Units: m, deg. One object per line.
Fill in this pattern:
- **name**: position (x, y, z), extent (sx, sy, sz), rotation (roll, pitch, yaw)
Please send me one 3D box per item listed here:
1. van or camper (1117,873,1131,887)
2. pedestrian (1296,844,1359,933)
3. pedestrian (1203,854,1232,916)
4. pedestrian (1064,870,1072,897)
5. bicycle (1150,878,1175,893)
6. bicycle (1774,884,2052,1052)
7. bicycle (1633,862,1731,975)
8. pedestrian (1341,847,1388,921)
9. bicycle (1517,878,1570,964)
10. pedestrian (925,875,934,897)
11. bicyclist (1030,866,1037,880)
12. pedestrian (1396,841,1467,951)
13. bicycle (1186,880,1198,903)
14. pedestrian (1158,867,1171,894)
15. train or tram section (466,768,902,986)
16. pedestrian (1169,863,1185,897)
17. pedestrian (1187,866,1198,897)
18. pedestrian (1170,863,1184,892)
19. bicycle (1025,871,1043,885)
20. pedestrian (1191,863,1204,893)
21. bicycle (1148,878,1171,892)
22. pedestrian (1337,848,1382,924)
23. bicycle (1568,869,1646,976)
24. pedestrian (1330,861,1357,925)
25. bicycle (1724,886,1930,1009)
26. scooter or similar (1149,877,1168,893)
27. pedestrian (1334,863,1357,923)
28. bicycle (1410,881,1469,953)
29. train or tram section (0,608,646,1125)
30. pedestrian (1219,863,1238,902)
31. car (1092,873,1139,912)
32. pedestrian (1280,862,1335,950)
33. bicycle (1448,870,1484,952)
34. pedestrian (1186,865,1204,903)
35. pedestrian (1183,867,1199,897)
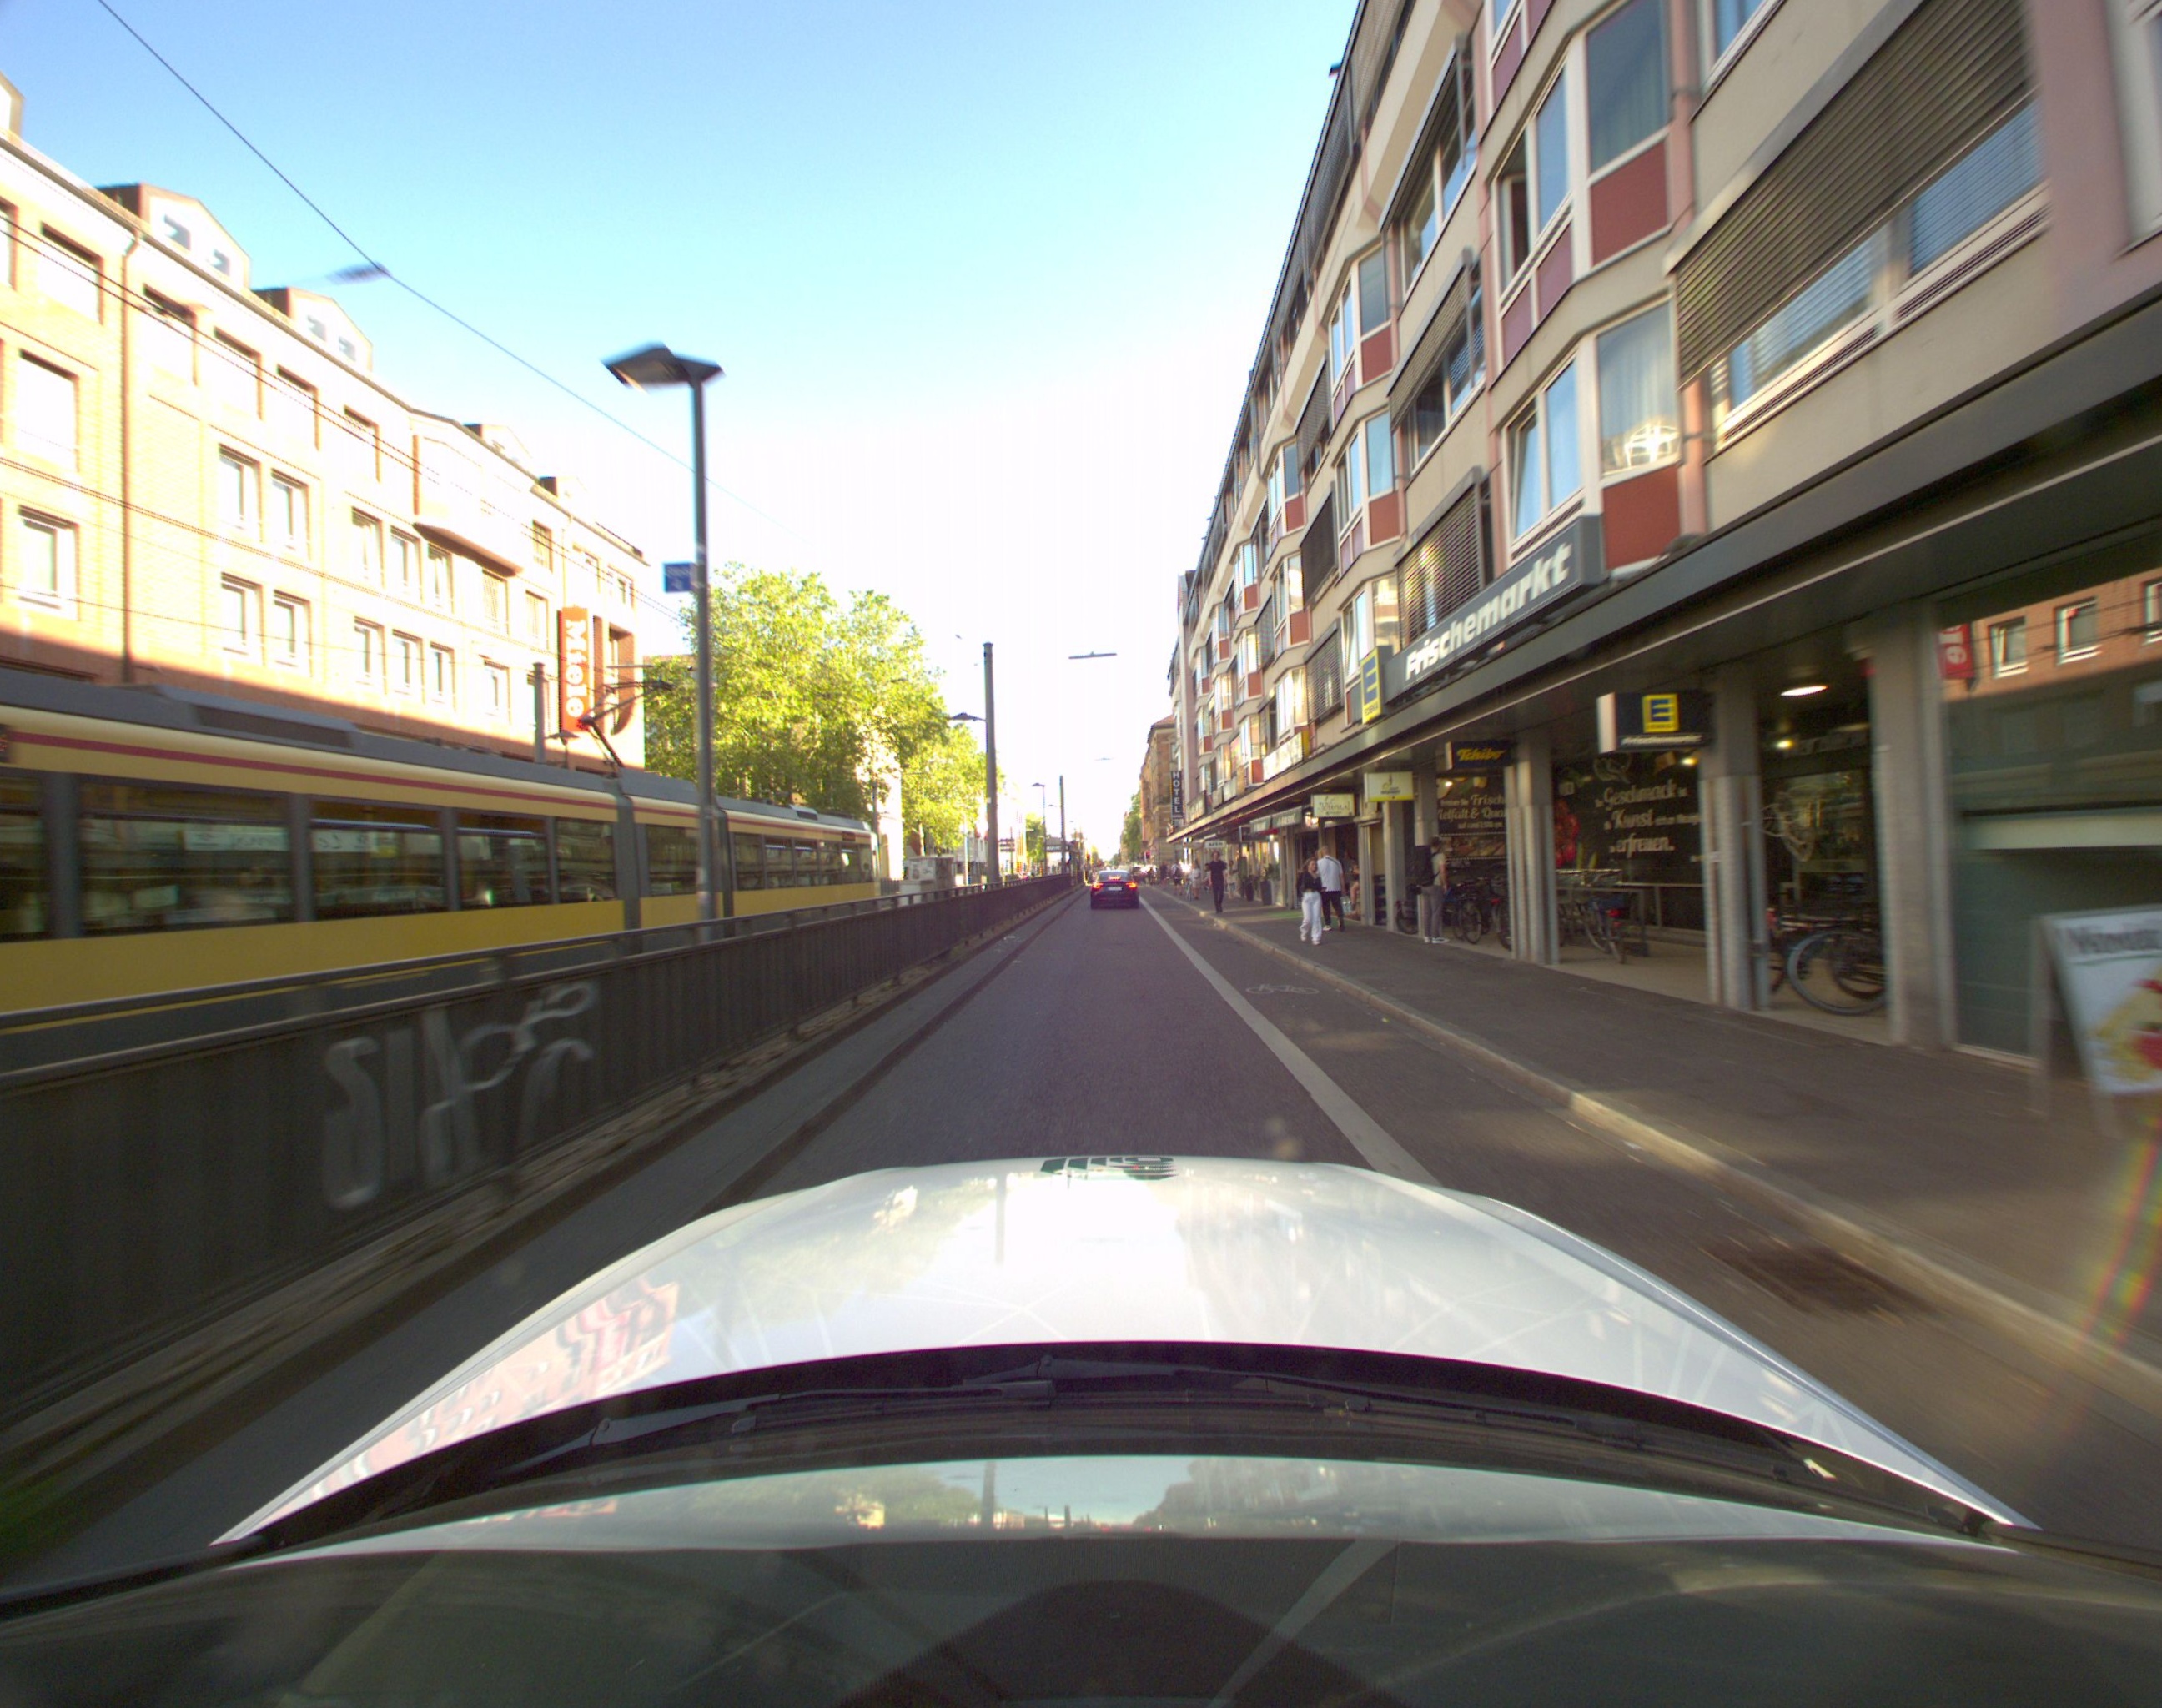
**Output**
- **van or camper**: position (6.476, 3.874, 122.578), extent (1.924, 2.037, 5.476), rotation (0, -2, 2)
- **pedestrian**: position (5.183, 0.718, 17.214), extent (0.903, 1.775, 1.050), rotation (-4, -2, 1)
- **pedestrian**: position (4.224, 0.964, 25.296), extent (0.672, 1.861, 0.993), rotation (-3, -2, 3)
- **pedestrian**: position (-0.765, 1.694, 47.031), extent (0.422, 1.574, 0.448), rotation (-1, -2, 2)
- **bicycle**: position (6.687, 2.574, 66.824), extent (1.939, 1.107, 0.564), rotation (-2, -2, 0)
- **bicycle**: position (6.578, 0.860, 6.550), extent (1.462, 1.200, 0.485), rotation (-3, -2, 38)
- **bicycle**: position (7.362, 0.737, 10.060), extent (0.550, 1.237, 2.096), rotation (-2, -2, 26)
- **pedestrian**: position (6.695, 0.716, 19.279), extent (0.770, 1.675, 0.696), rotation (-4, -2, 1)
- **bicycle**: position (7.337, 1.013, 12.972), extent (0.570, 1.254, 2.128), rotation (-1, -2, 26)
- **pedestrian**: position (-14.024, 2.953, 75.379), extent (0.700, 2.014, 0.687), rotation (-1, -2, -8)
- **bicyclist**: position (-5.275, 2.131, 91.206), extent (0.680, 1.517, 0.632), rotation (0, -2, -13)
- **pedestrian**: position (5.795, 0.680, 13.487), extent (0.788, 1.721, 0.588), rotation (-3, -1, -16)
- **bicycle**: position (4.882, 1.647, 35.995), extent (0.301, 0.990, 1.760), rotation (-2, -1, 1)
- **pedestrian**: position (5.360, 1.703, 52.336), extent (0.665, 1.729, 0.810), rotation (-4, -2, 1)
- **train or tram section**: position (-8.461, 0.508, 21.867), extent (2.962, 3.645, 16.493), rotation (0, -1, 2)
- **pedestrian**: position (4.939, 1.357, 41.849), extent (0.741, 1.727, 0.815), rotation (0, -2, 2)
- **pedestrian**: position (6.729, 1.664, 49.020), extent (0.449, 1.849, 0.811), rotation (-3, -2, 0)
- **pedestrian**: position (6.174, 1.533, 52.551), extent (0.703, 1.820, 0.763), rotation (-4, -2, 2)
- **bicycle**: position (-5.281, 2.719, 91.185), extent (1.951, 1.517, 0.632), rotation (0, -2, -14)
- **pedestrian**: position (7.019, 1.447, 49.082), extent (0.627, 1.769, 0.501), rotation (-3, -2, 2)
- **bicycle**: position (6.696, 2.674, 69.500), extent (1.939, 1.107, 0.564), rotation (-2, -2, 0)
- **pedestrian**: position (6.265, 0.709, 18.352), extent (0.723, 1.636, 0.639), rotation (-4, -2, 3)
- **bicycle**: position (6.772, 0.827, 10.560), extent (0.550, 1.237, 2.096), rotation (-2, -2, 26)
- **pedestrian**: position (6.793, 1.010, 21.097), extent (0.513, 1.633, 0.522), rotation (-2, -2, 7)
- **bicycle**: position (6.825, 0.841, 7.477), extent (1.505, 1.041, 0.434), rotation (-1, 0, -1)
- **scooter or similar**: position (6.318, 2.546, 66.178), extent (1.473, 1.229, 0.592), rotation (-3, -2, 2)
- **pedestrian**: position (7.148, 1.050, 22.001), extent (0.453, 1.604, 0.465), rotation (-1, -2, 4)
- **bicycle**: position (6.532, 1.118, 14.819), extent (1.393, 1.237, 0.405), rotation (0, -2, -42)
- **train or tram section**: position (-9.060, 0.108, 6.642), extent (2.962, 3.645, 13.950), rotation (0, -2, 2)
- **pedestrian**: position (6.046, 1.162, 33.361), extent (0.598, 1.590, 0.554), rotation (-2, -2, 1)
- **car**: position (1.319, 1.464, 31.665), extent (1.713, 1.405, 3.710), rotation (0, -2, 1)
- **pedestrian**: position (4.142, 0.933, 14.923), extent (0.663, 1.521, 0.788), rotation (-4, -2, -2)
- **bicycle**: position (6.405, 0.896, 13.528), extent (0.465, 1.251, 2.096), rotation (-2, -2, 26)
- **pedestrian**: position (5.031, 1.319, 36.002), extent (0.660, 1.631, 0.705), rotation (-2, -1, 1)
- **pedestrian**: position (5.667, 1.453, 41.891), extent (0.633, 1.483, 0.654), rotation (-4, -2, 1)
